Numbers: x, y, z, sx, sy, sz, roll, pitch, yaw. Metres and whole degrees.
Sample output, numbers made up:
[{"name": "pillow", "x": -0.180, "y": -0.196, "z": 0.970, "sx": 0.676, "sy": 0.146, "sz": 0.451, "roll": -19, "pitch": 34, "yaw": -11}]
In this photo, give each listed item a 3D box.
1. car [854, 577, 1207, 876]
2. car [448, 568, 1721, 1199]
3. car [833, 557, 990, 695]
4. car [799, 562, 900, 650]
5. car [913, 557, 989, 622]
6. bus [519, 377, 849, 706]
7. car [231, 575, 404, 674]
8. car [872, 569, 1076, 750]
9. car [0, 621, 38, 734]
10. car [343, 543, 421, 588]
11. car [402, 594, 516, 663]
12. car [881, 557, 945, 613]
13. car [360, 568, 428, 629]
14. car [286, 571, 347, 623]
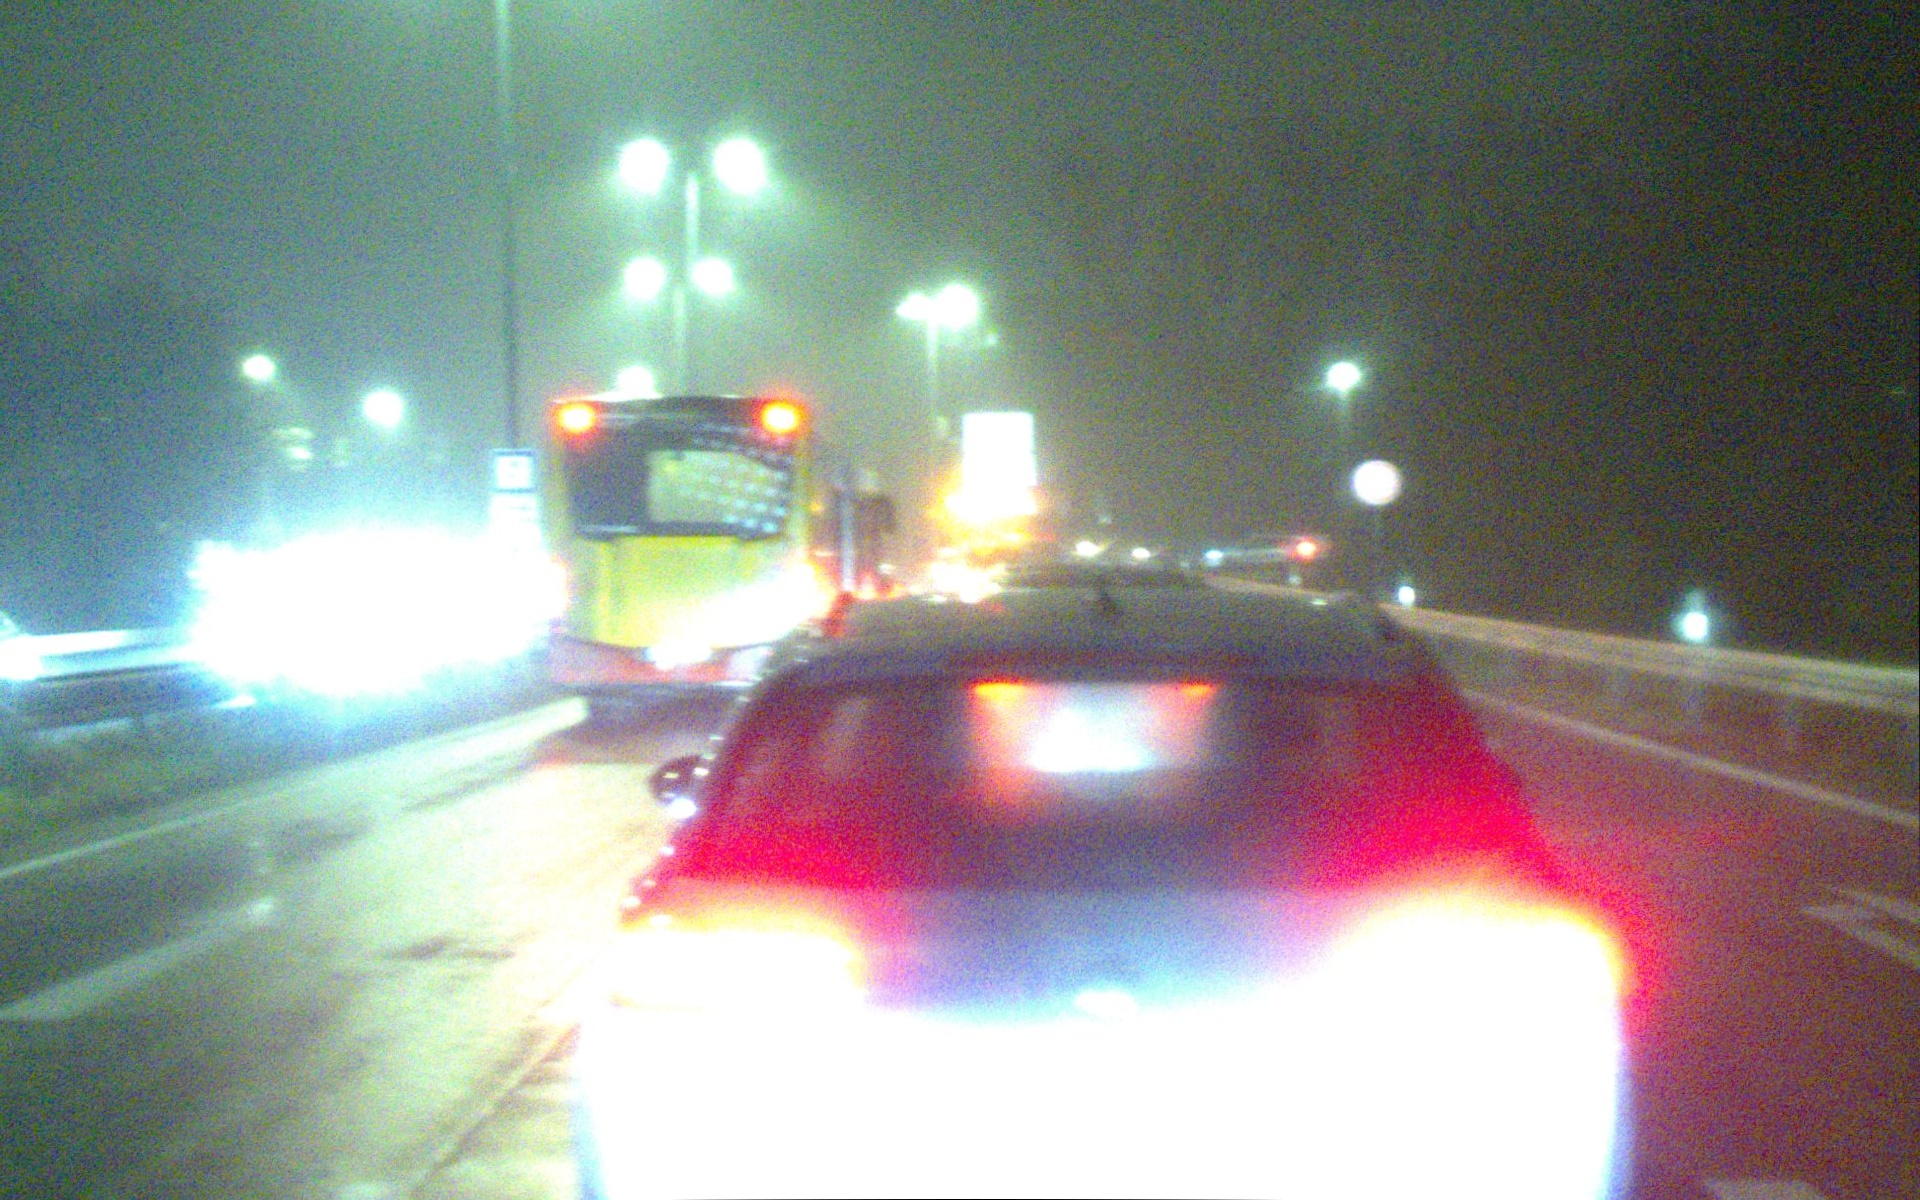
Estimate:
[{"name": "car", "x": 0.332, "y": 0.605, "z": 19.272, "sx": 1.731, "sy": 1.444, "sz": 4.725, "roll": 0, "pitch": 1, "yaw": 0}, {"name": "car", "x": 0.236, "y": 0.683, "z": 7.228, "sx": 1.821, "sy": 1.479, "sz": 4.567, "roll": 0, "pitch": 1, "yaw": 1}, {"name": "car", "x": -0.635, "y": 0.288, "z": 42.551, "sx": 1.819, "sy": 1.585, "sz": 3.777, "roll": -1, "pitch": 1, "yaw": -2}, {"name": "car", "x": -1.988, "y": 0.081, "z": 62.517, "sx": 1.779, "sy": 1.538, "sz": 3.875, "roll": 0, "pitch": 1, "yaw": -1}, {"name": "car", "x": -0.244, "y": -0.279, "z": 87.163, "sx": 1.819, "sy": 1.585, "sz": 3.777, "roll": -1, "pitch": 1, "yaw": -1}, {"name": "bus", "x": -2.672, "y": -0.587, "z": 35.869, "sx": 2.815, "sy": 3.013, "sz": 8.687, "roll": 0, "pitch": 1, "yaw": -1}, {"name": "car", "x": -9.616, "y": 0.333, "z": 51.764, "sx": 1.610, "sy": 1.377, "sz": 4.746, "roll": -1, "pitch": 1, "yaw": 1}, {"name": "car", "x": 0.076, "y": 0.499, "z": 31.787, "sx": 1.739, "sy": 1.559, "sz": 3.777, "roll": 0, "pitch": 1, "yaw": -2}, {"name": "car", "x": -12.840, "y": 1.033, "z": 42.476, "sx": 1.610, "sy": 1.377, "sz": 4.164, "roll": -3, "pitch": 1, "yaw": 2}, {"name": "car", "x": -26.560, "y": -1.576, "z": 157.856, "sx": 1.994, "sy": 2.007, "sz": 3.999, "roll": 0, "pitch": 0, "yaw": -35}, {"name": "car", "x": -11.590, "y": 0.638, "z": 79.766, "sx": 1.856, "sy": 1.471, "sz": 4.779, "roll": -1, "pitch": 1, "yaw": 1}, {"name": "car", "x": -1.394, "y": -0.447, "z": 100.970, "sx": 1.819, "sy": 1.585, "sz": 3.777, "roll": -1, "pitch": 1, "yaw": -1}, {"name": "car", "x": -19.236, "y": -0.054, "z": 116.982, "sx": 1.993, "sy": 2.007, "sz": 4.001, "roll": 0, "pitch": 0, "yaw": -5}, {"name": "car", "x": -25.390, "y": -0.126, "z": 135.741, "sx": 1.993, "sy": 2.007, "sz": 4.001, "roll": 0, "pitch": 0, "yaw": -5}]
